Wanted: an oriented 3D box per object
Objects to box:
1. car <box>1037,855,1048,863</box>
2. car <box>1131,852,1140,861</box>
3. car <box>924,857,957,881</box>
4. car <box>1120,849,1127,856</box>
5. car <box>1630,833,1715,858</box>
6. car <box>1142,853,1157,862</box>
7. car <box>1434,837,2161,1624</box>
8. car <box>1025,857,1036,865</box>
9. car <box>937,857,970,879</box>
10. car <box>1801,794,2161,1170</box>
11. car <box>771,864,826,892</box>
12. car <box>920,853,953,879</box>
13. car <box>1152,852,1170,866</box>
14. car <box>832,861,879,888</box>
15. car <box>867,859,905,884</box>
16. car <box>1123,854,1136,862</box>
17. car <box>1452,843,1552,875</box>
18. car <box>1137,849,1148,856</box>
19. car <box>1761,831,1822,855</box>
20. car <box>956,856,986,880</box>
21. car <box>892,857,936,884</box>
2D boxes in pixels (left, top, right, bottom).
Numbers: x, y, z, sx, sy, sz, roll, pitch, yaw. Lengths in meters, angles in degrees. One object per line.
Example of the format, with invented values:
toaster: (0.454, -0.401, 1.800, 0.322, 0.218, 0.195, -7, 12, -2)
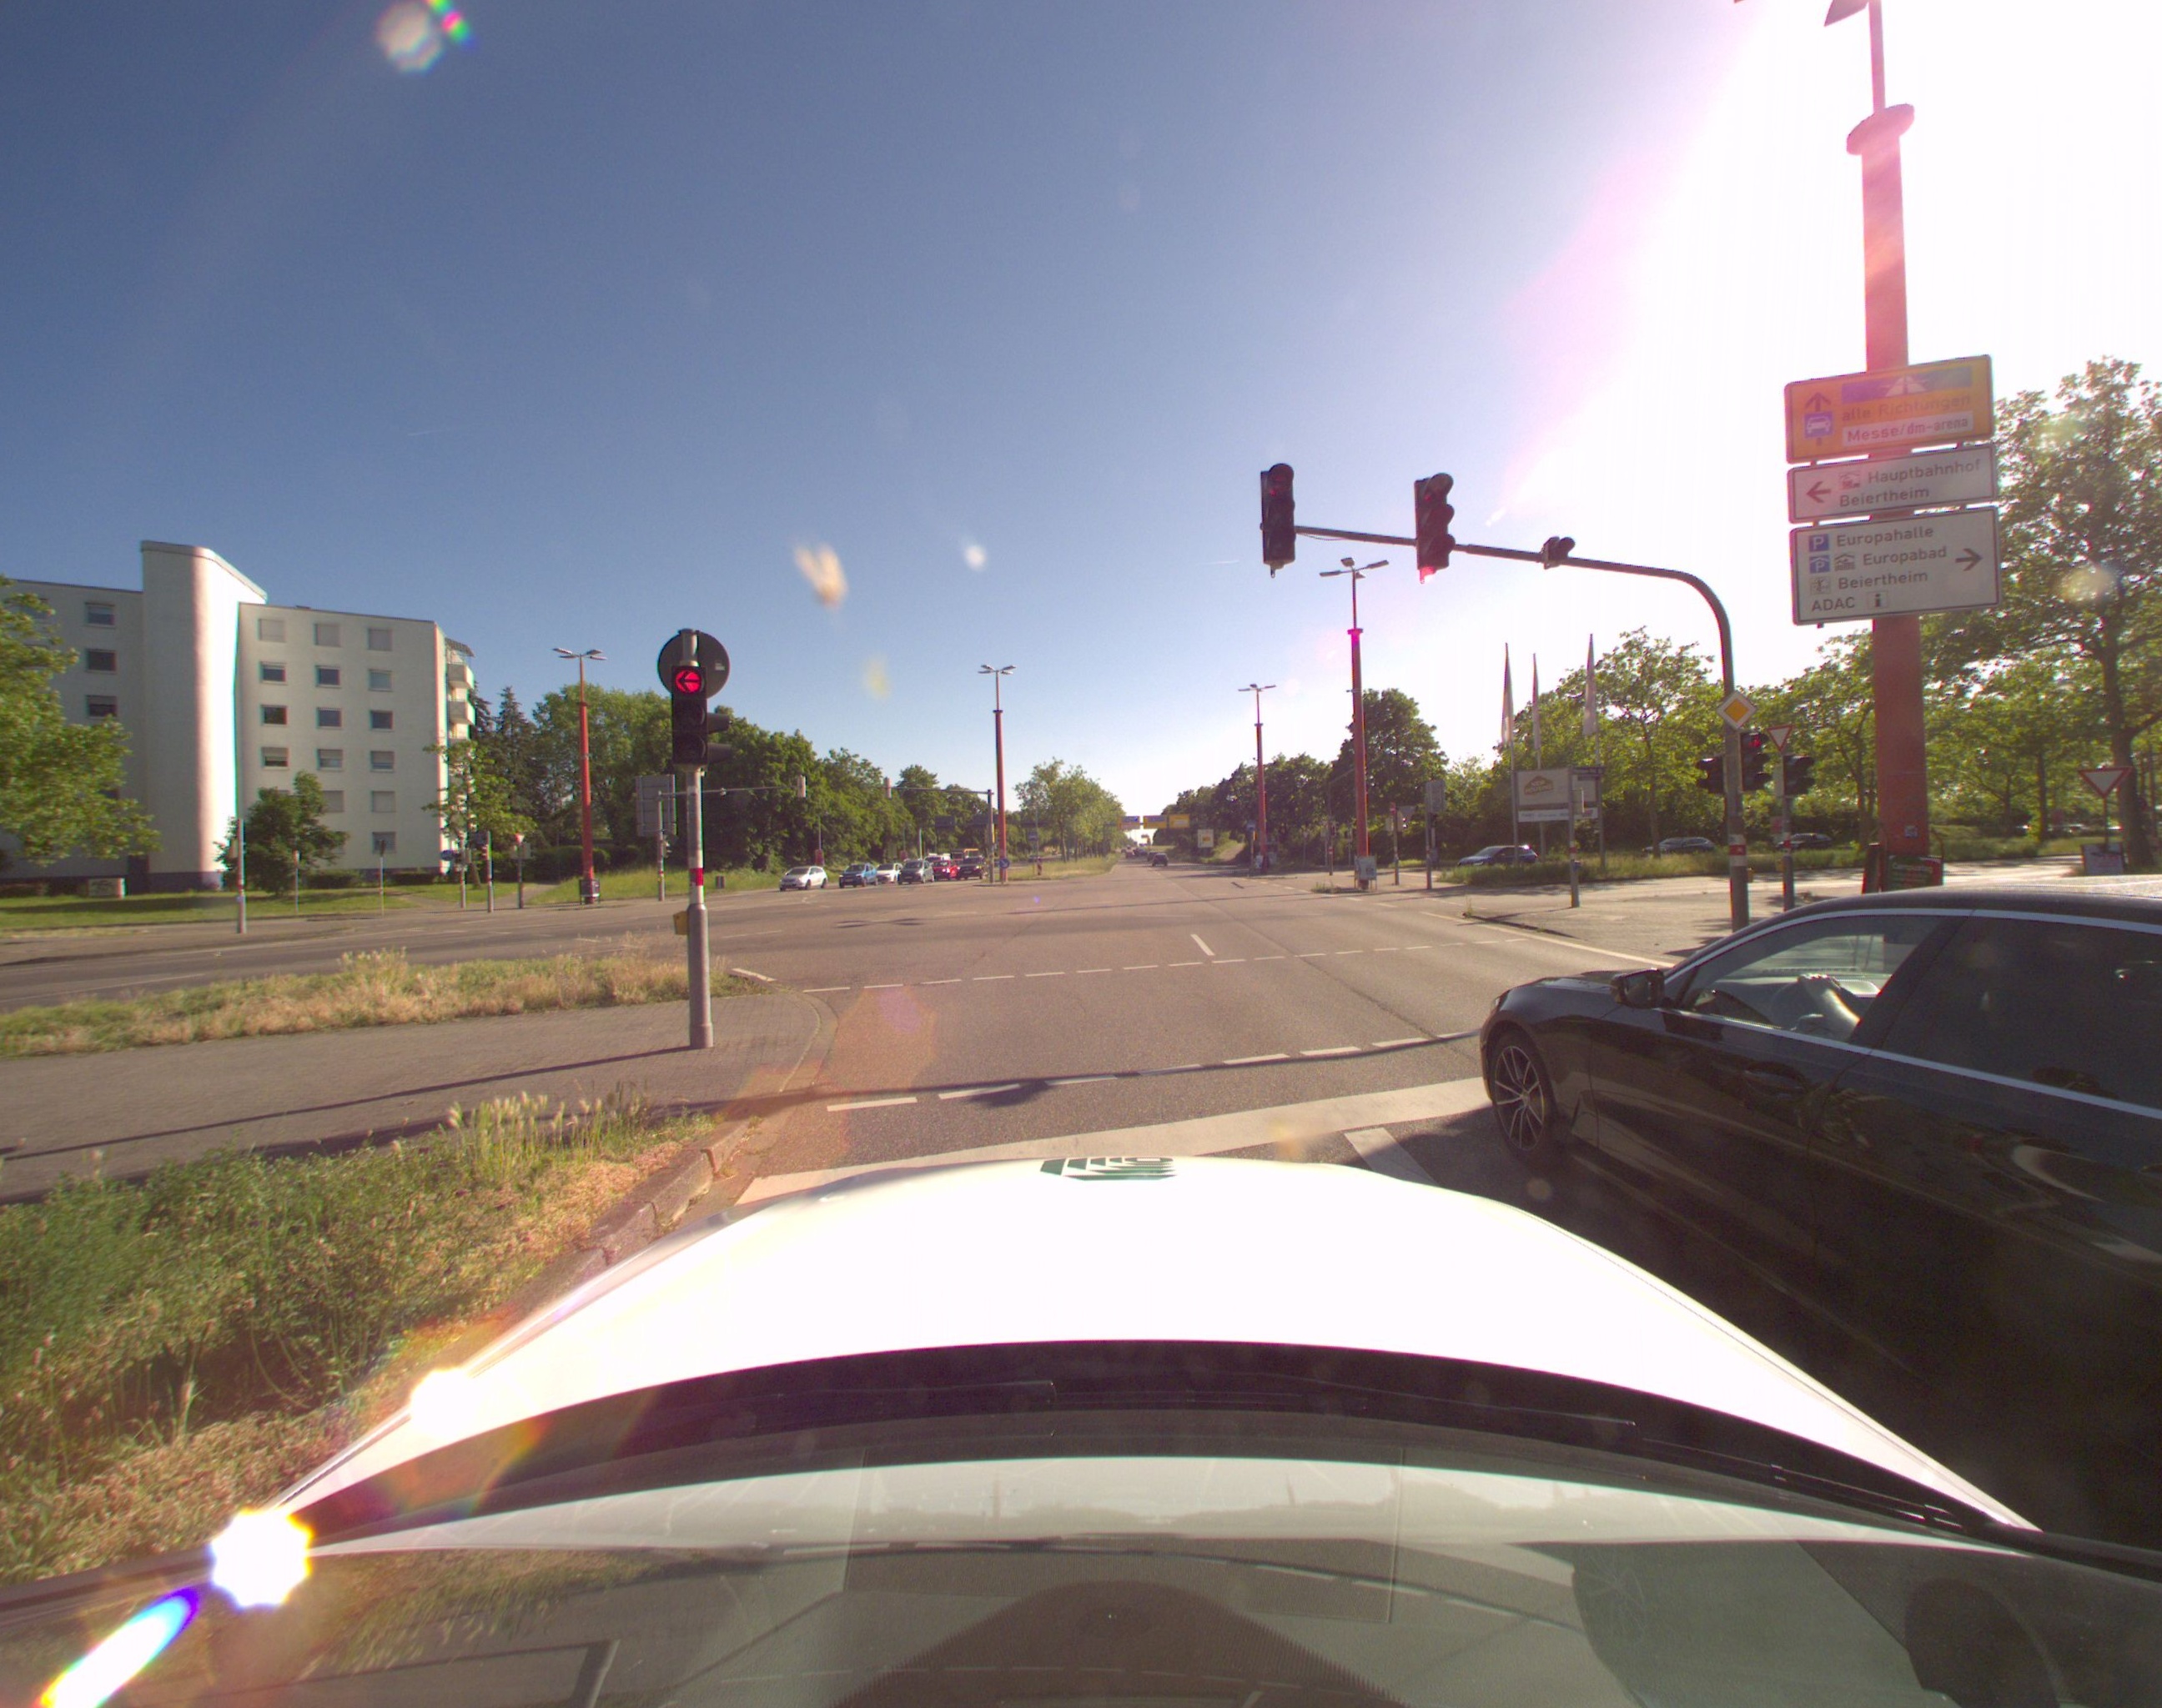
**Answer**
car: (-8.930, 1.166, 188.448, 1.983, 1.573, 4.128, -2, 0, 6)
car: (12.508, 0.568, 187.294, 1.986, 2.013, 4.002, -2, 0, 2)
car: (-10.101, 1.045, 58.877, 1.991, 1.573, 4.112, -2, 0, -6)
car: (13.260, -0.457, 251.776, 1.986, 2.013, 4.002, -2, 0, 2)
car: (40.236, -0.571, 55.461, 4.571, 1.573, 2.157, -2, 0, -12)
car: (12.218, 0.628, 144.610, 2.153, 1.573, 4.277, -2, 0, -2)
car: (2.953, 0.665, 2.378, 1.986, 1.394, 4.479, -2, 0, 2)
car: (-10.769, 1.473, 172.808, 1.877, 1.454, 3.658, -2, 0, 2)
car: (-10.064, 1.092, 64.659, 1.988, 1.573, 4.118, -2, 0, -1)
car: (5.800, 0.560, 3.266, 1.959, 1.686, 4.479, -1, 0, 2)
car: (-17.692, 1.465, 51.186, 1.987, 1.573, 4.120, -2, 0, 0)
car: (-12.732, 1.052, 71.991, 2.055, 2.193, 4.377, -2, 0, 0)
car: (9.919, 0.629, 101.159, 2.149, 1.573, 4.285, -2, 0, 4)
car: (-14.235, 1.283, 51.646, 1.989, 1.573, 4.116, -2, 0, -3)
car: (-13.737, 1.215, 57.528, 1.991, 1.573, 4.112, -3, 0, -6)
car: (10.212, 0.750, 171.187, 2.241, 1.573, 4.276, -2, 0, -3)
car: (20.807, 0.233, 40.279, 4.276, 1.428, 1.874, -2, 0, -16)
car: (15.414, -0.349, 204.324, 2.153, 1.573, 4.277, -2, 0, -2)
car: (51.427, -0.795, 58.946, 4.296, 1.573, 2.144, -2, 0, -32)
car: (-7.564, 0.938, 56.495, 1.874, 1.573, 4.112, -2, 0, -6)
car: (-10.731, 1.045, 52.585, 1.988, 1.573, 4.119, -2, 0, -1)
